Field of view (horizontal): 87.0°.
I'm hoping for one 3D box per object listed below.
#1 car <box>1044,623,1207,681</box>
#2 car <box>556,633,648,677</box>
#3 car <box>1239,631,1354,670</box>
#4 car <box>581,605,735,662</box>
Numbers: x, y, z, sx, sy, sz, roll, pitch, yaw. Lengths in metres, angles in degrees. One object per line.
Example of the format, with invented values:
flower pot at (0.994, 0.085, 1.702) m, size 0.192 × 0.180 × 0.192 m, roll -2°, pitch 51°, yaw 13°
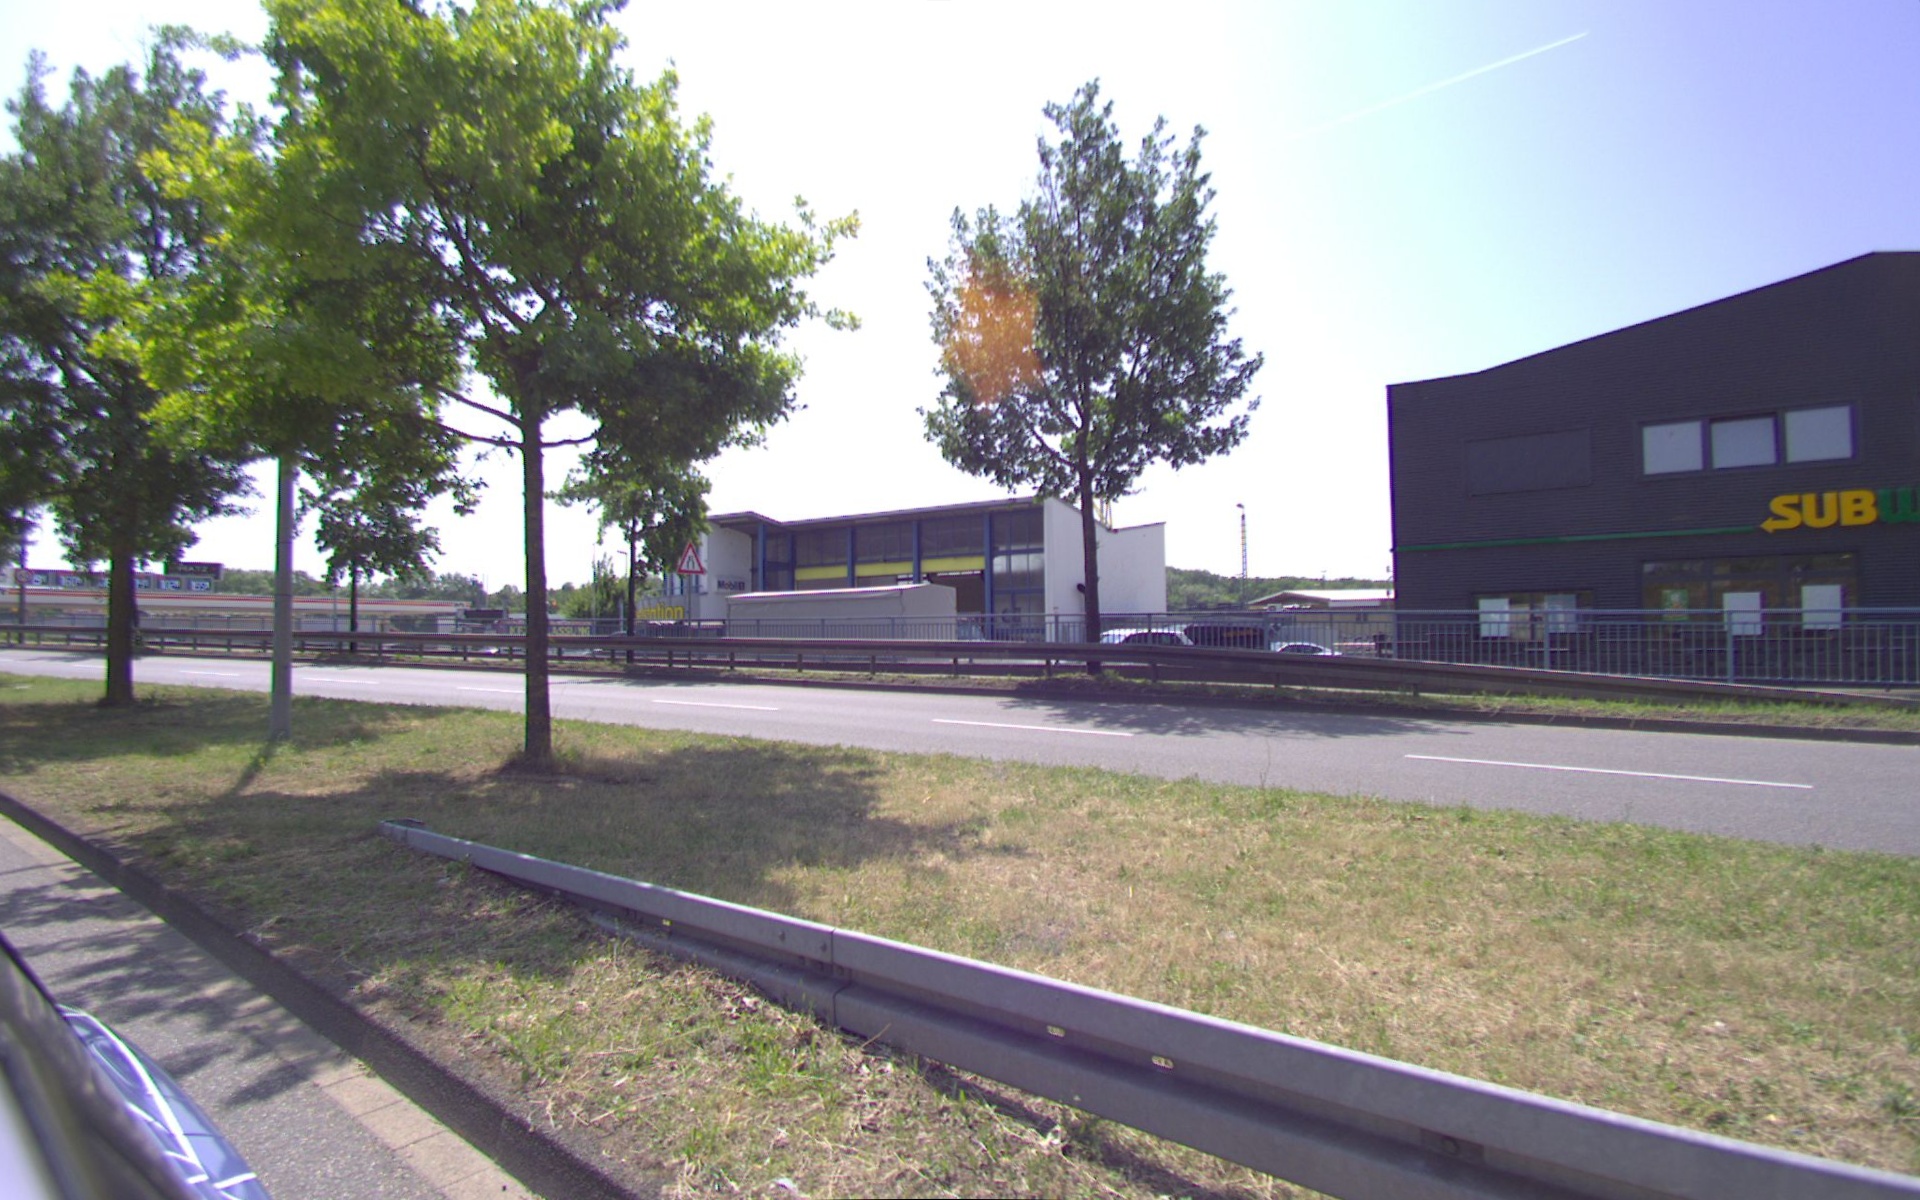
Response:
car at (4.339, 1.316, 26.444) m, size 3.930 × 1.390 × 1.665 m, roll 0°, pitch -1°, yaw -25°
car at (-17.609, 2.661, 49.917) m, size 1.992 × 2.029 × 3.959 m, roll -1°, pitch -1°, yaw 30°
car at (12.876, 1.901, 38.748) m, size 3.931 × 1.390 × 1.664 m, roll 0°, pitch -1°, yaw -18°
car at (-9.040, 0.990, 30.143) m, size 4.628 × 1.581 × 1.882 m, roll 0°, pitch -3°, yaw 34°
